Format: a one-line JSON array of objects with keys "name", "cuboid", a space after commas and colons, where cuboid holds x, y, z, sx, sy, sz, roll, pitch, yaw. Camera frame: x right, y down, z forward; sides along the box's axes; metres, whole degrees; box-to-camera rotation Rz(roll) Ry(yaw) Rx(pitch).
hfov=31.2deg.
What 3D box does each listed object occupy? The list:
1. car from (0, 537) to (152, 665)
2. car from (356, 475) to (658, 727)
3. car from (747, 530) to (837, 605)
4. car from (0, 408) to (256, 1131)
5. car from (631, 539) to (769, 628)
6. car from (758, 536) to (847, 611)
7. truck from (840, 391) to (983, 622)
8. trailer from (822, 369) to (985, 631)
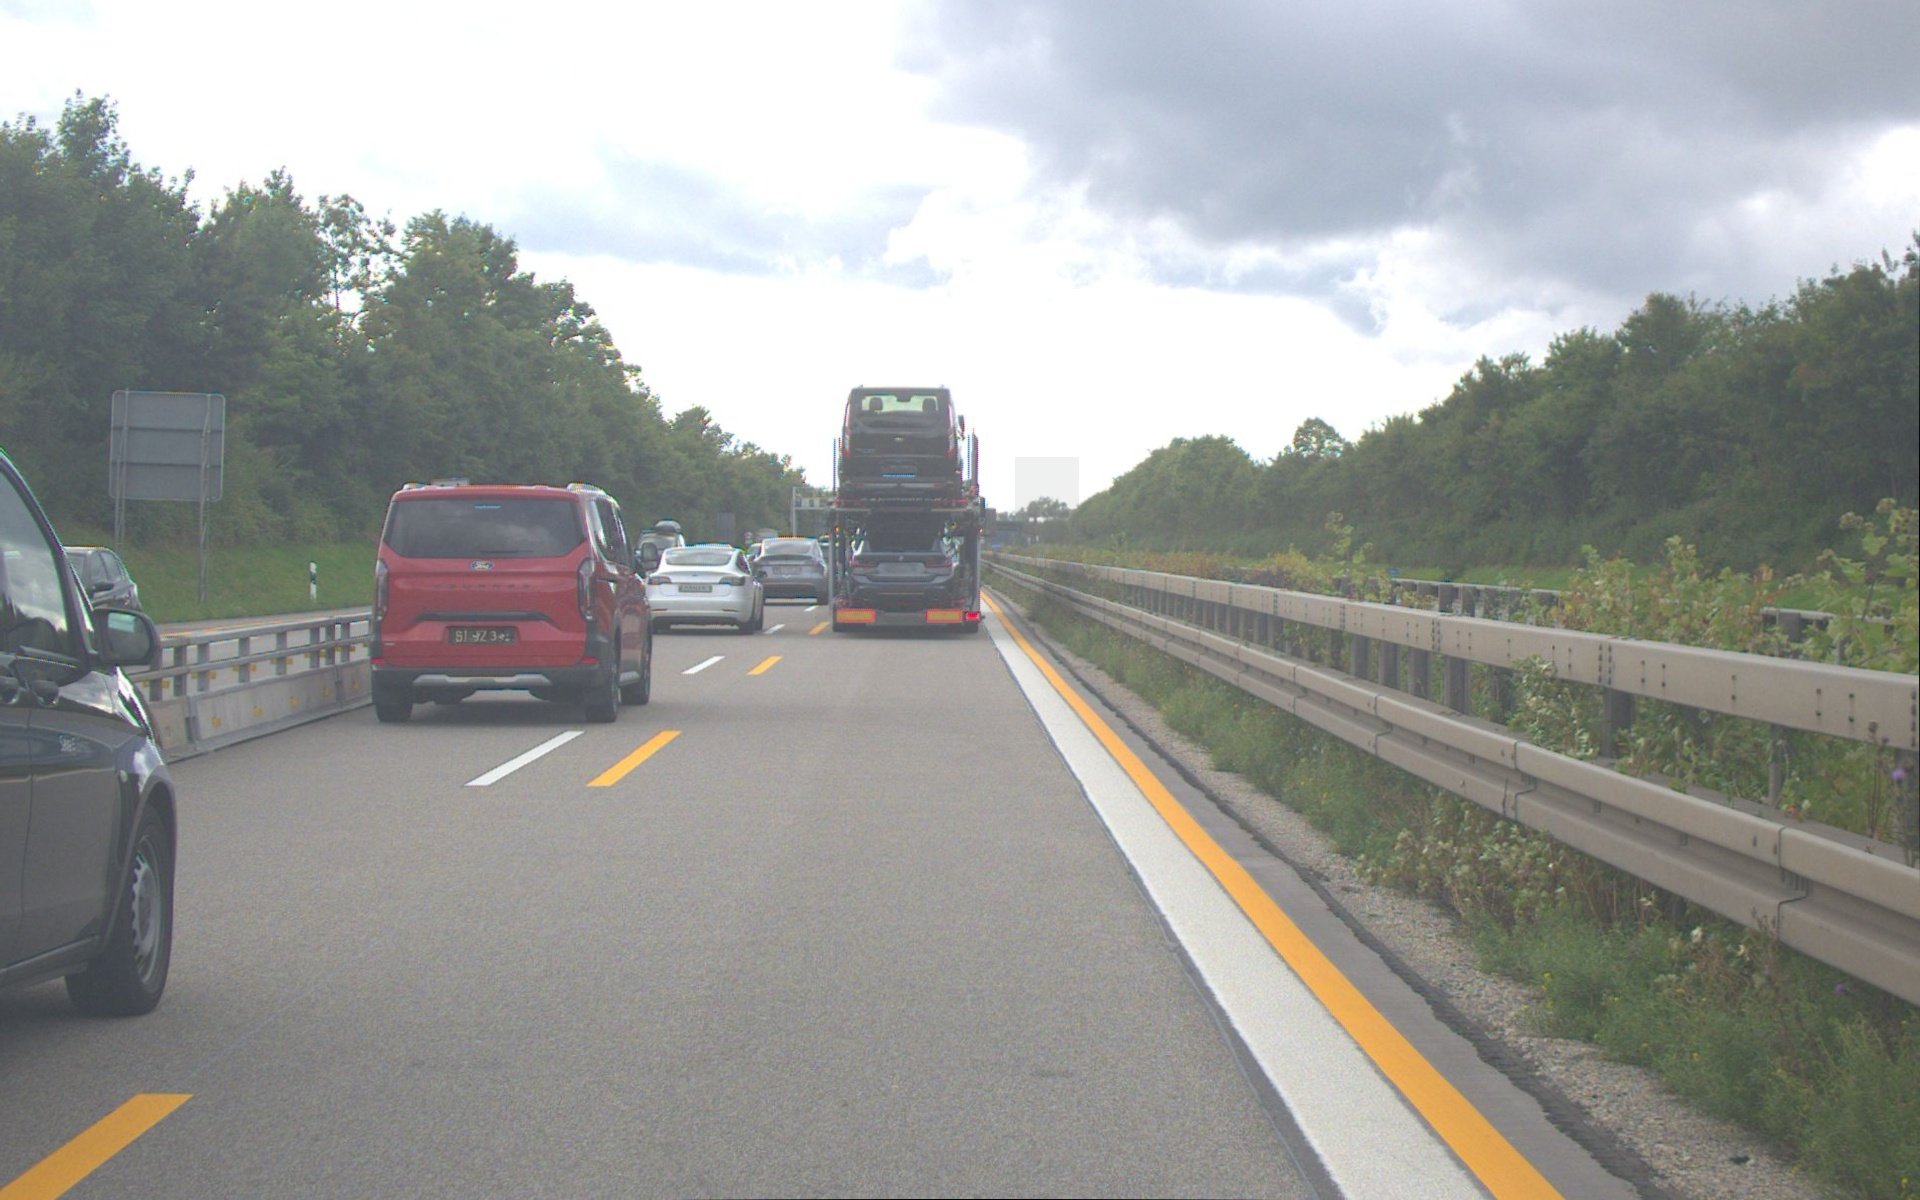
[{"name": "car", "cuboid": [-10.671, -0.021, 39.961, 1.757, 1.383, 4.001, 1, 1, -2]}, {"name": "car", "cuboid": [-3.814, -0.028, 29.698, 2.031, 2.007, 4.578, 0, 1, 0]}, {"name": "car", "cuboid": [-4.020, -0.793, 82.849, 2.031, 1.751, 4.578, 0, 1, -1]}, {"name": "car", "cuboid": [-3.442, 0.426, 9.199, 1.993, 1.837, 5.610, 0, 1, 0]}, {"name": "car", "cuboid": [-4.306, -0.306, 57.552, 2.031, 1.426, 4.578, 0, 1, -1]}, {"name": "car", "cuboid": [-3.764, -0.648, 82.639, 2.031, 1.751, 4.578, 0, 1, -1]}, {"name": "truck", "cuboid": [-0.850, -1.712, 64.098, 2.515, 4.091, 5.685, 0, 1, 0]}, {"name": "trailer", "cuboid": [-0.864, -1.647, 59.334, 2.515, 4.091, 11.113, 0, 1, 0]}]
